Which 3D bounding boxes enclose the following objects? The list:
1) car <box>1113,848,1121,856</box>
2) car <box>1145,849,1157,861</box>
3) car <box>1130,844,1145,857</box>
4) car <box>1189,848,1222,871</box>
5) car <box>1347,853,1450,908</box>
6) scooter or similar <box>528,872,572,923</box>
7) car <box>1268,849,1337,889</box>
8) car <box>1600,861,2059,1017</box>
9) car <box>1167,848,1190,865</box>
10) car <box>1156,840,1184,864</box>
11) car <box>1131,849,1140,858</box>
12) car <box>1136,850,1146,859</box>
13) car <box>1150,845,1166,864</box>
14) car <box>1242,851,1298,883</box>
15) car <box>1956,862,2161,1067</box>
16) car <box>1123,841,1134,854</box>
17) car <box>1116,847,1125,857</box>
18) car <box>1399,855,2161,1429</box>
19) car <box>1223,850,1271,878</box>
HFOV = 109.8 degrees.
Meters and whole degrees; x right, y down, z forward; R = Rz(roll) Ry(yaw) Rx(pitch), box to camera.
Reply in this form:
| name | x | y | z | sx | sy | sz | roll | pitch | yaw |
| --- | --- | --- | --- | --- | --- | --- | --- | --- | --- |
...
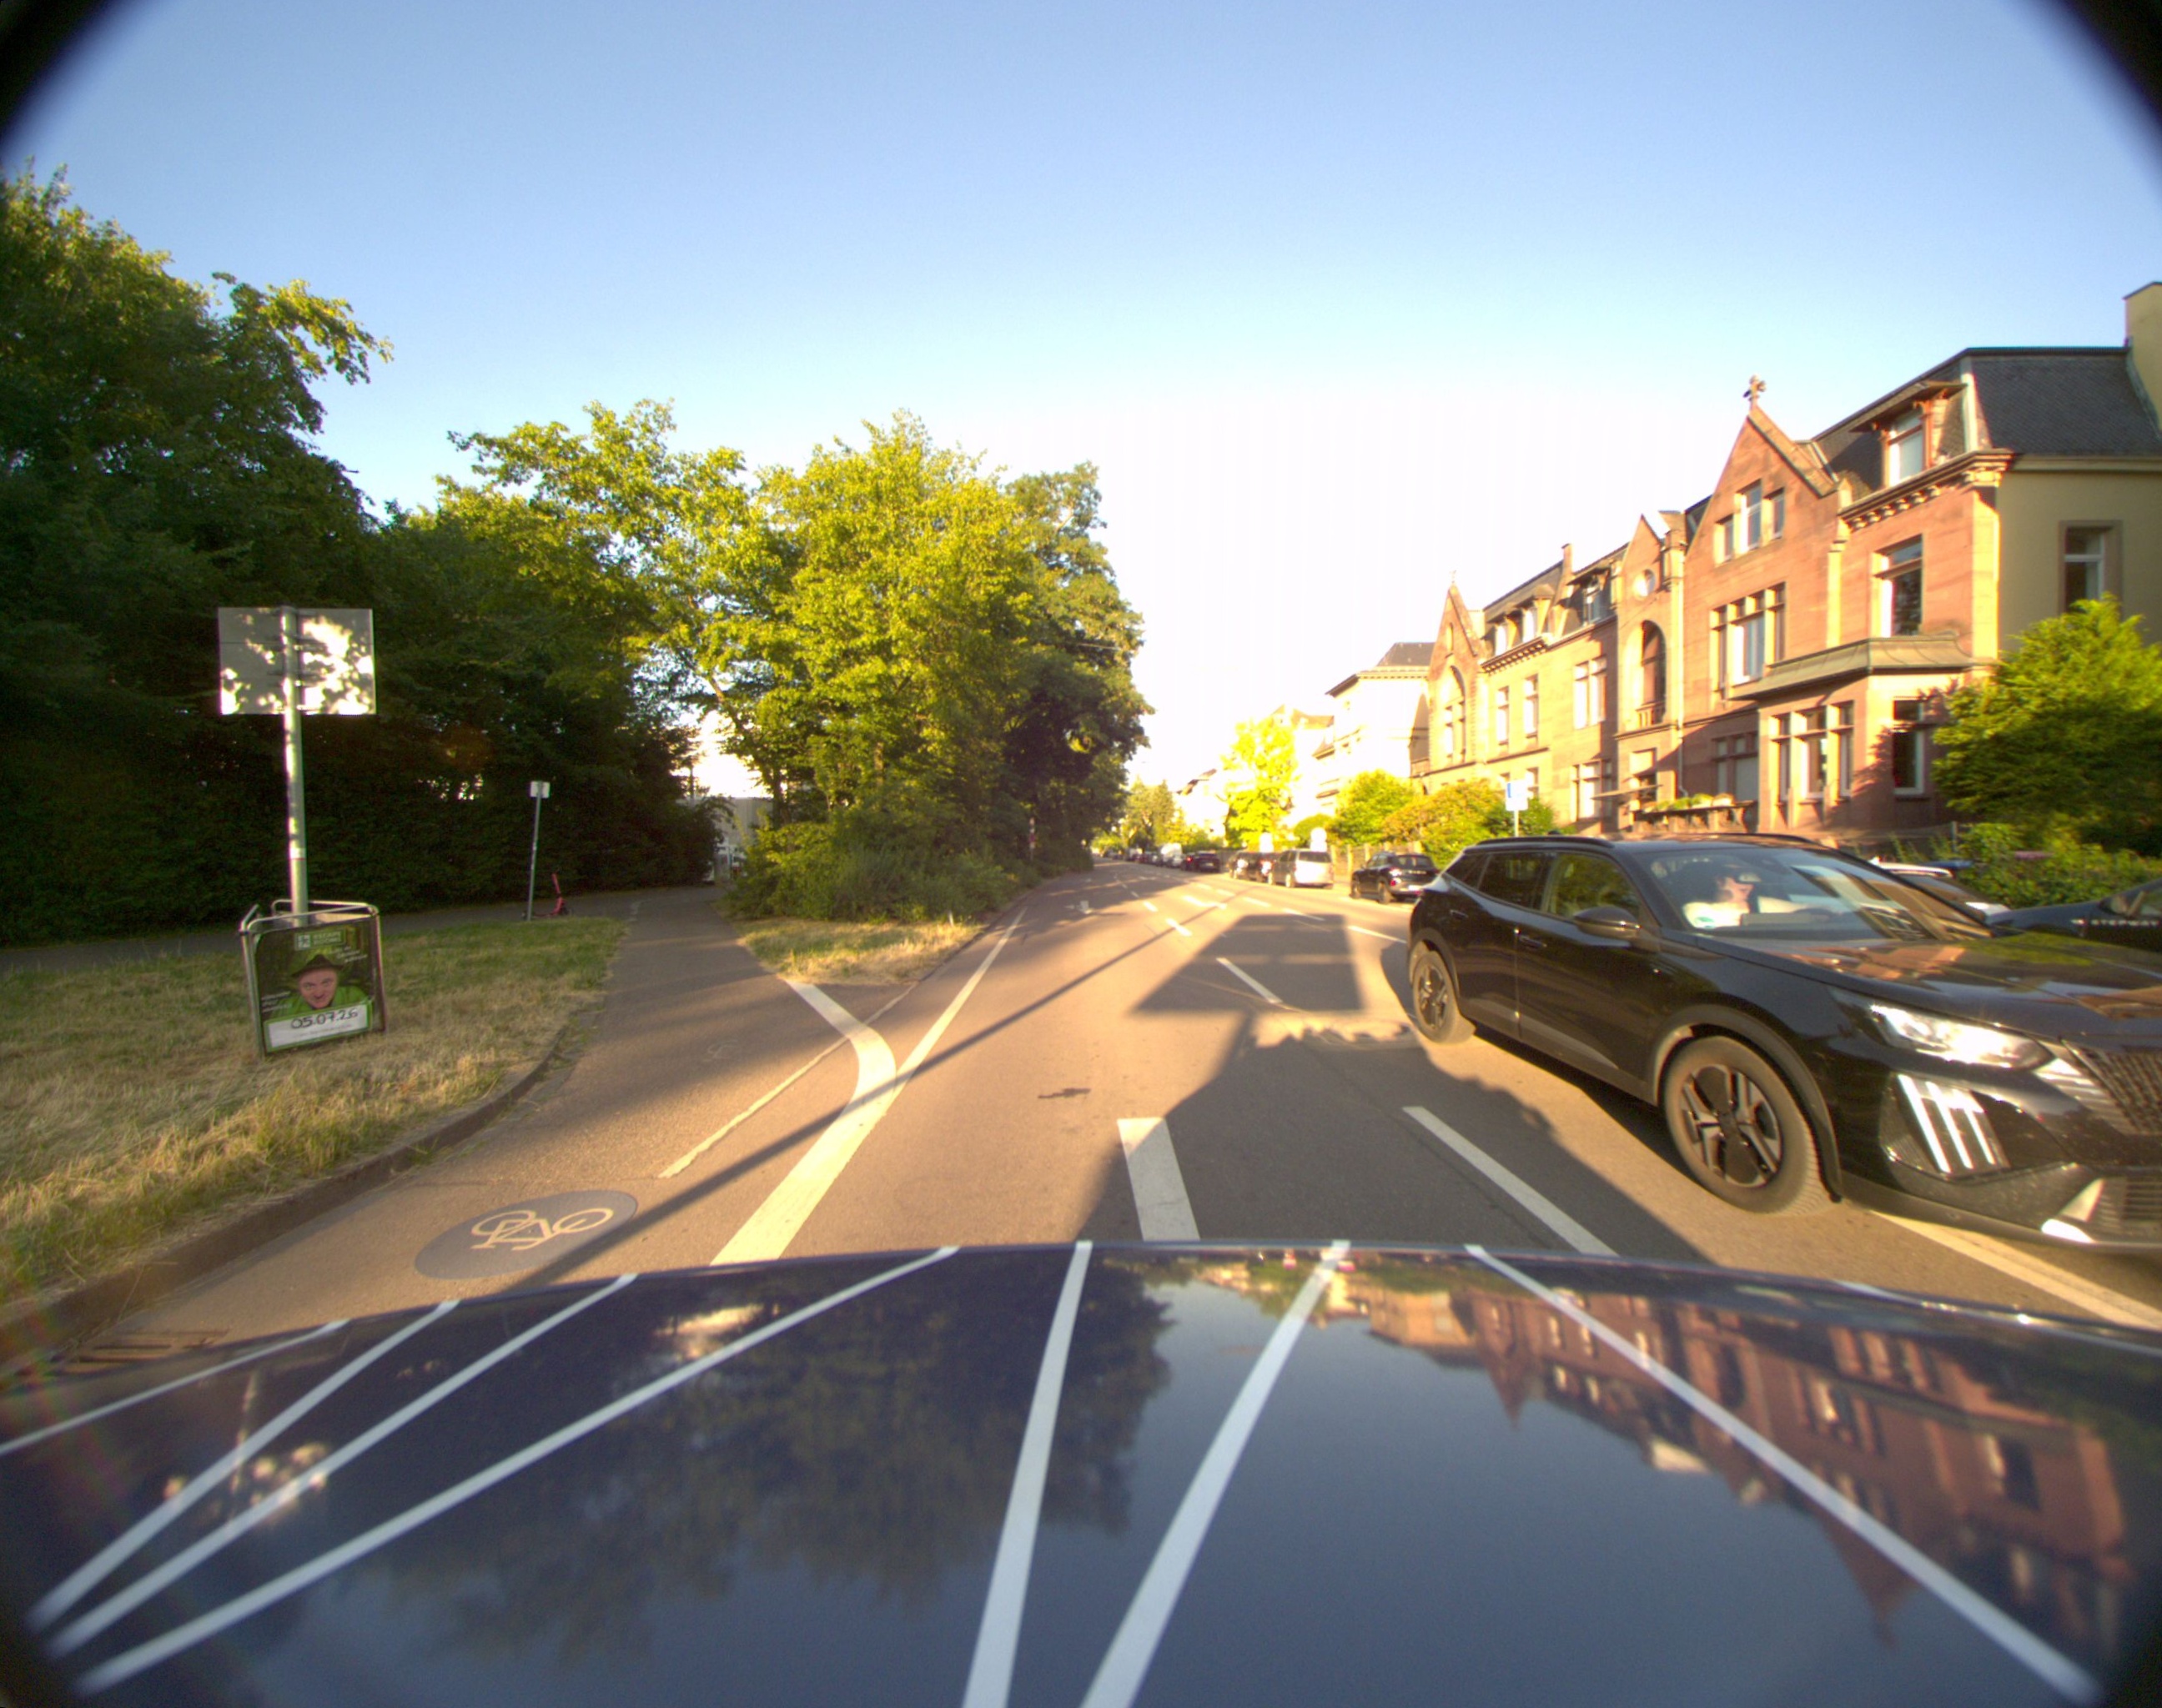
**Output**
| name | x | y | z | sx | sy | sz | roll | pitch | yaw |
| --- | --- | --- | --- | --- | --- | --- | --- | --- | --- |
| car | 9.705 | -0.615 | 203.322 | 1.998 | 2.002 | 4.000 | 0 | 0 | 1 |
| car | 9.040 | 0.119 | 97.643 | 1.292 | 1.430 | 2.883 | 0 | 0 | 1 |
| car | 9.675 | -0.589 | 130.608 | 2.203 | 2.201 | 4.527 | 0 | 0 | 1 |
| car | 9.052 | 0.382 | 55.598 | 1.880 | 1.596 | 3.723 | 0 | 0 | 1 |
| car | 9.212 | 0.714 | 22.334 | 1.631 | 1.437 | 3.566 | 0 | 0 | 2 |
| scooter or similar | -11.845 | 0.961 | 16.974 | 0.194 | 1.079 | 0.837 | -2 | 0 | 15 |
| car | 9.142 | 0.573 | 31.646 | 1.716 | 1.579 | 3.752 | 0 | 0 | -1 |
| car | 8.988 | 0.874 | 9.814 | 1.608 | 1.435 | 4.433 | 2 | 0 | 2 |
| car | 9.352 | 0.223 | 73.016 | 1.715 | 1.596 | 3.853 | 0 | 0 | 1 |
| car | 9.304 | -0.220 | 79.817 | 2.231 | 2.355 | 5.878 | 0 | 0 | -1 |
| car | 8.945 | -0.069 | 124.673 | 1.220 | 1.430 | 2.515 | 0 | 0 | 1 |
| car | 9.053 | 0.042 | 114.641 | 1.220 | 1.430 | 2.515 | 0 | 0 | 1 |
| car | 9.305 | 0.060 | 92.042 | 1.571 | 2.253 | 3.800 | 0 | 0 | 1 |
| car | 9.051 | 0.592 | 36.621 | 1.716 | 1.442 | 3.722 | 0 | 0 | -1 |
| car | 8.983 | 0.882 | 5.233 | 1.631 | 1.526 | 3.723 | 2 | 0 | 2 |
| car | 9.684 | -1.303 | 155.204 | 1.999 | 2.442 | 5.579 | -1 | 0 | -1 |
| car | 8.864 | -0.426 | 170.671 | 1.998 | 2.002 | 4.000 | -2 | 1 | 2 |
| car | 3.388 | 0.791 | 4.070 | 1.682 | 1.527 | 3.999 | 0 | 0 | 0 |
| car | 8.940 | 0.522 | 41.268 | 1.716 | 1.442 | 3.722 | 0 | 0 | -1 |
